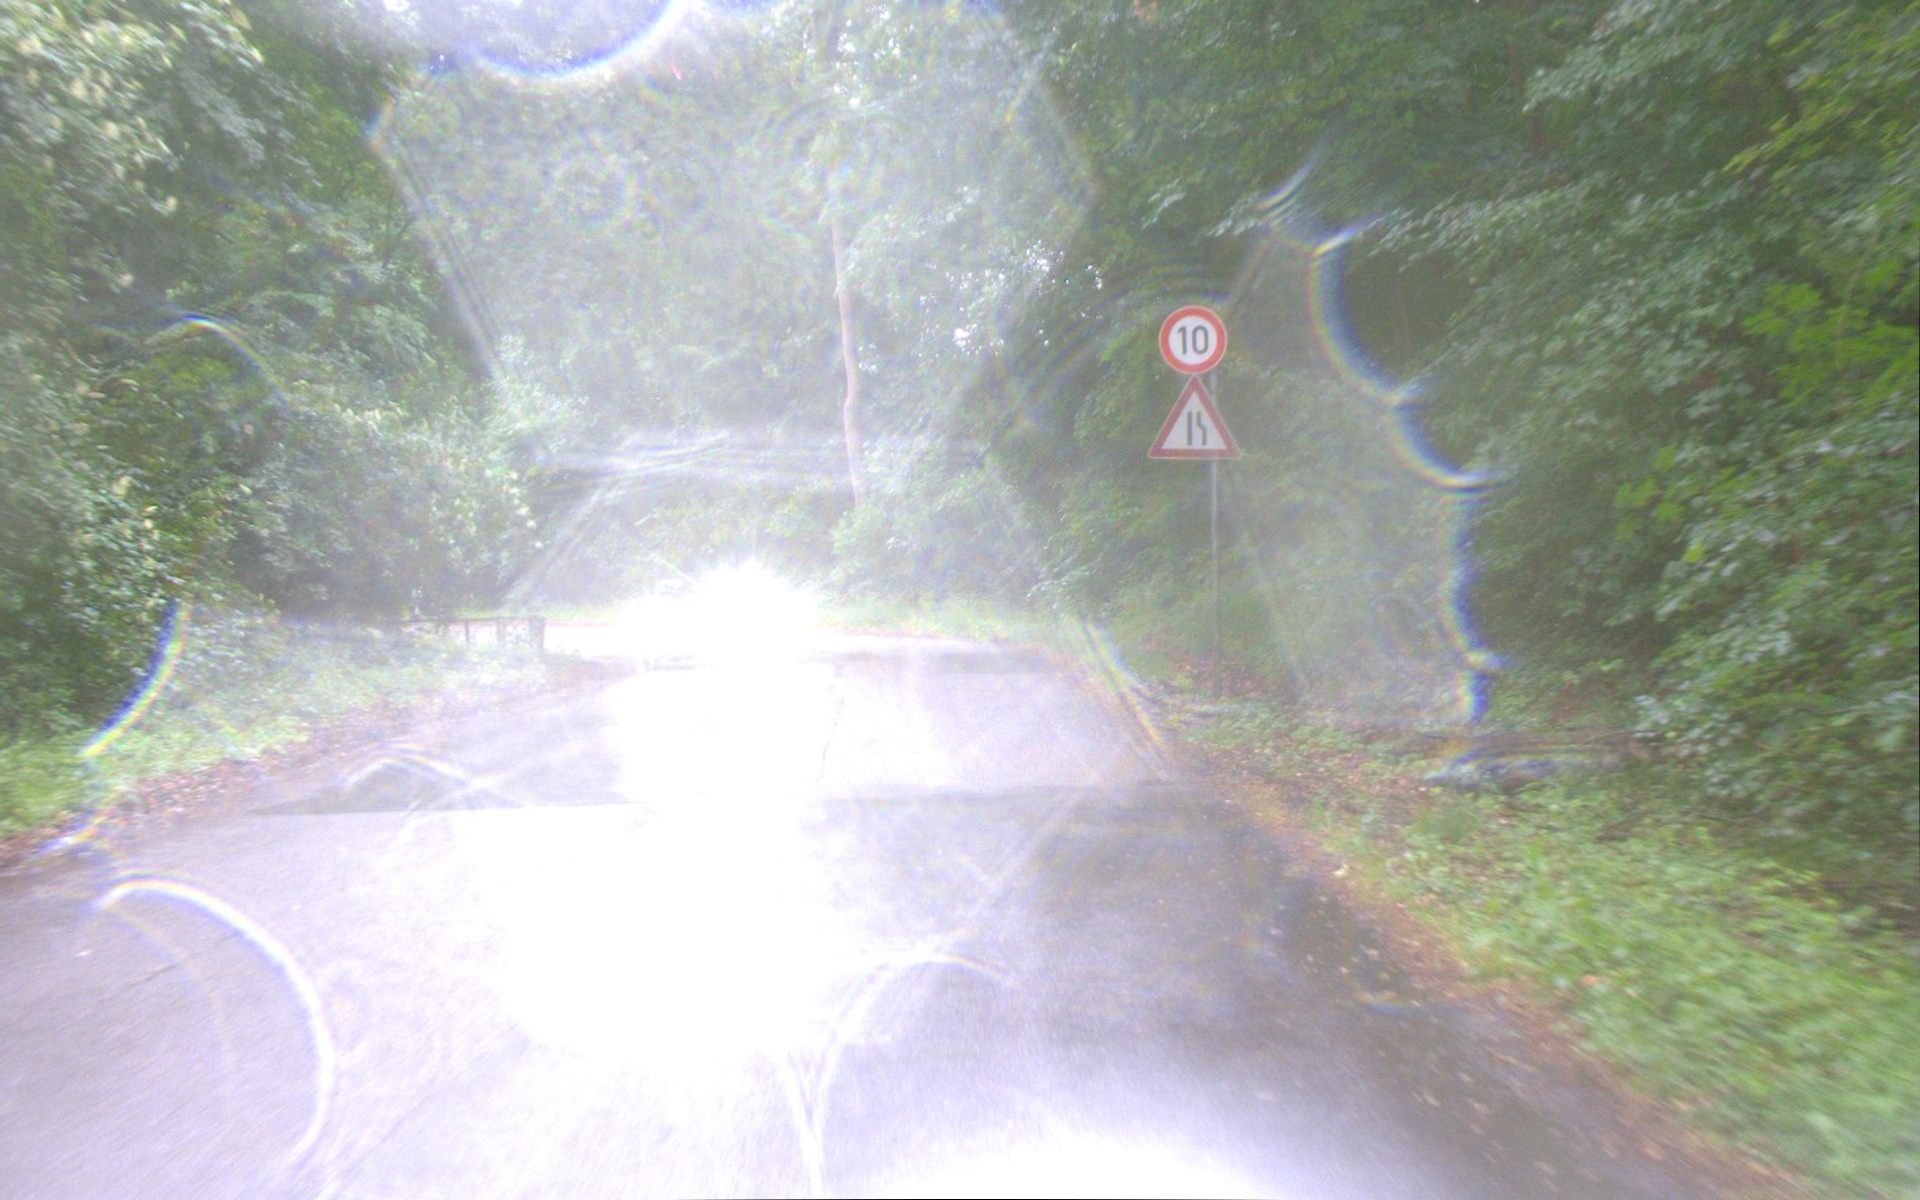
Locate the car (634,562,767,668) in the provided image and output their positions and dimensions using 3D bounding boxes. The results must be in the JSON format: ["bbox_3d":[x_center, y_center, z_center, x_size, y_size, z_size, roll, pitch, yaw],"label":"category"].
[{"bbox_3d":[-3.927,0.203,52.582,1.714,1.470,3.891,-3,1,-1],"label":"car"}]
